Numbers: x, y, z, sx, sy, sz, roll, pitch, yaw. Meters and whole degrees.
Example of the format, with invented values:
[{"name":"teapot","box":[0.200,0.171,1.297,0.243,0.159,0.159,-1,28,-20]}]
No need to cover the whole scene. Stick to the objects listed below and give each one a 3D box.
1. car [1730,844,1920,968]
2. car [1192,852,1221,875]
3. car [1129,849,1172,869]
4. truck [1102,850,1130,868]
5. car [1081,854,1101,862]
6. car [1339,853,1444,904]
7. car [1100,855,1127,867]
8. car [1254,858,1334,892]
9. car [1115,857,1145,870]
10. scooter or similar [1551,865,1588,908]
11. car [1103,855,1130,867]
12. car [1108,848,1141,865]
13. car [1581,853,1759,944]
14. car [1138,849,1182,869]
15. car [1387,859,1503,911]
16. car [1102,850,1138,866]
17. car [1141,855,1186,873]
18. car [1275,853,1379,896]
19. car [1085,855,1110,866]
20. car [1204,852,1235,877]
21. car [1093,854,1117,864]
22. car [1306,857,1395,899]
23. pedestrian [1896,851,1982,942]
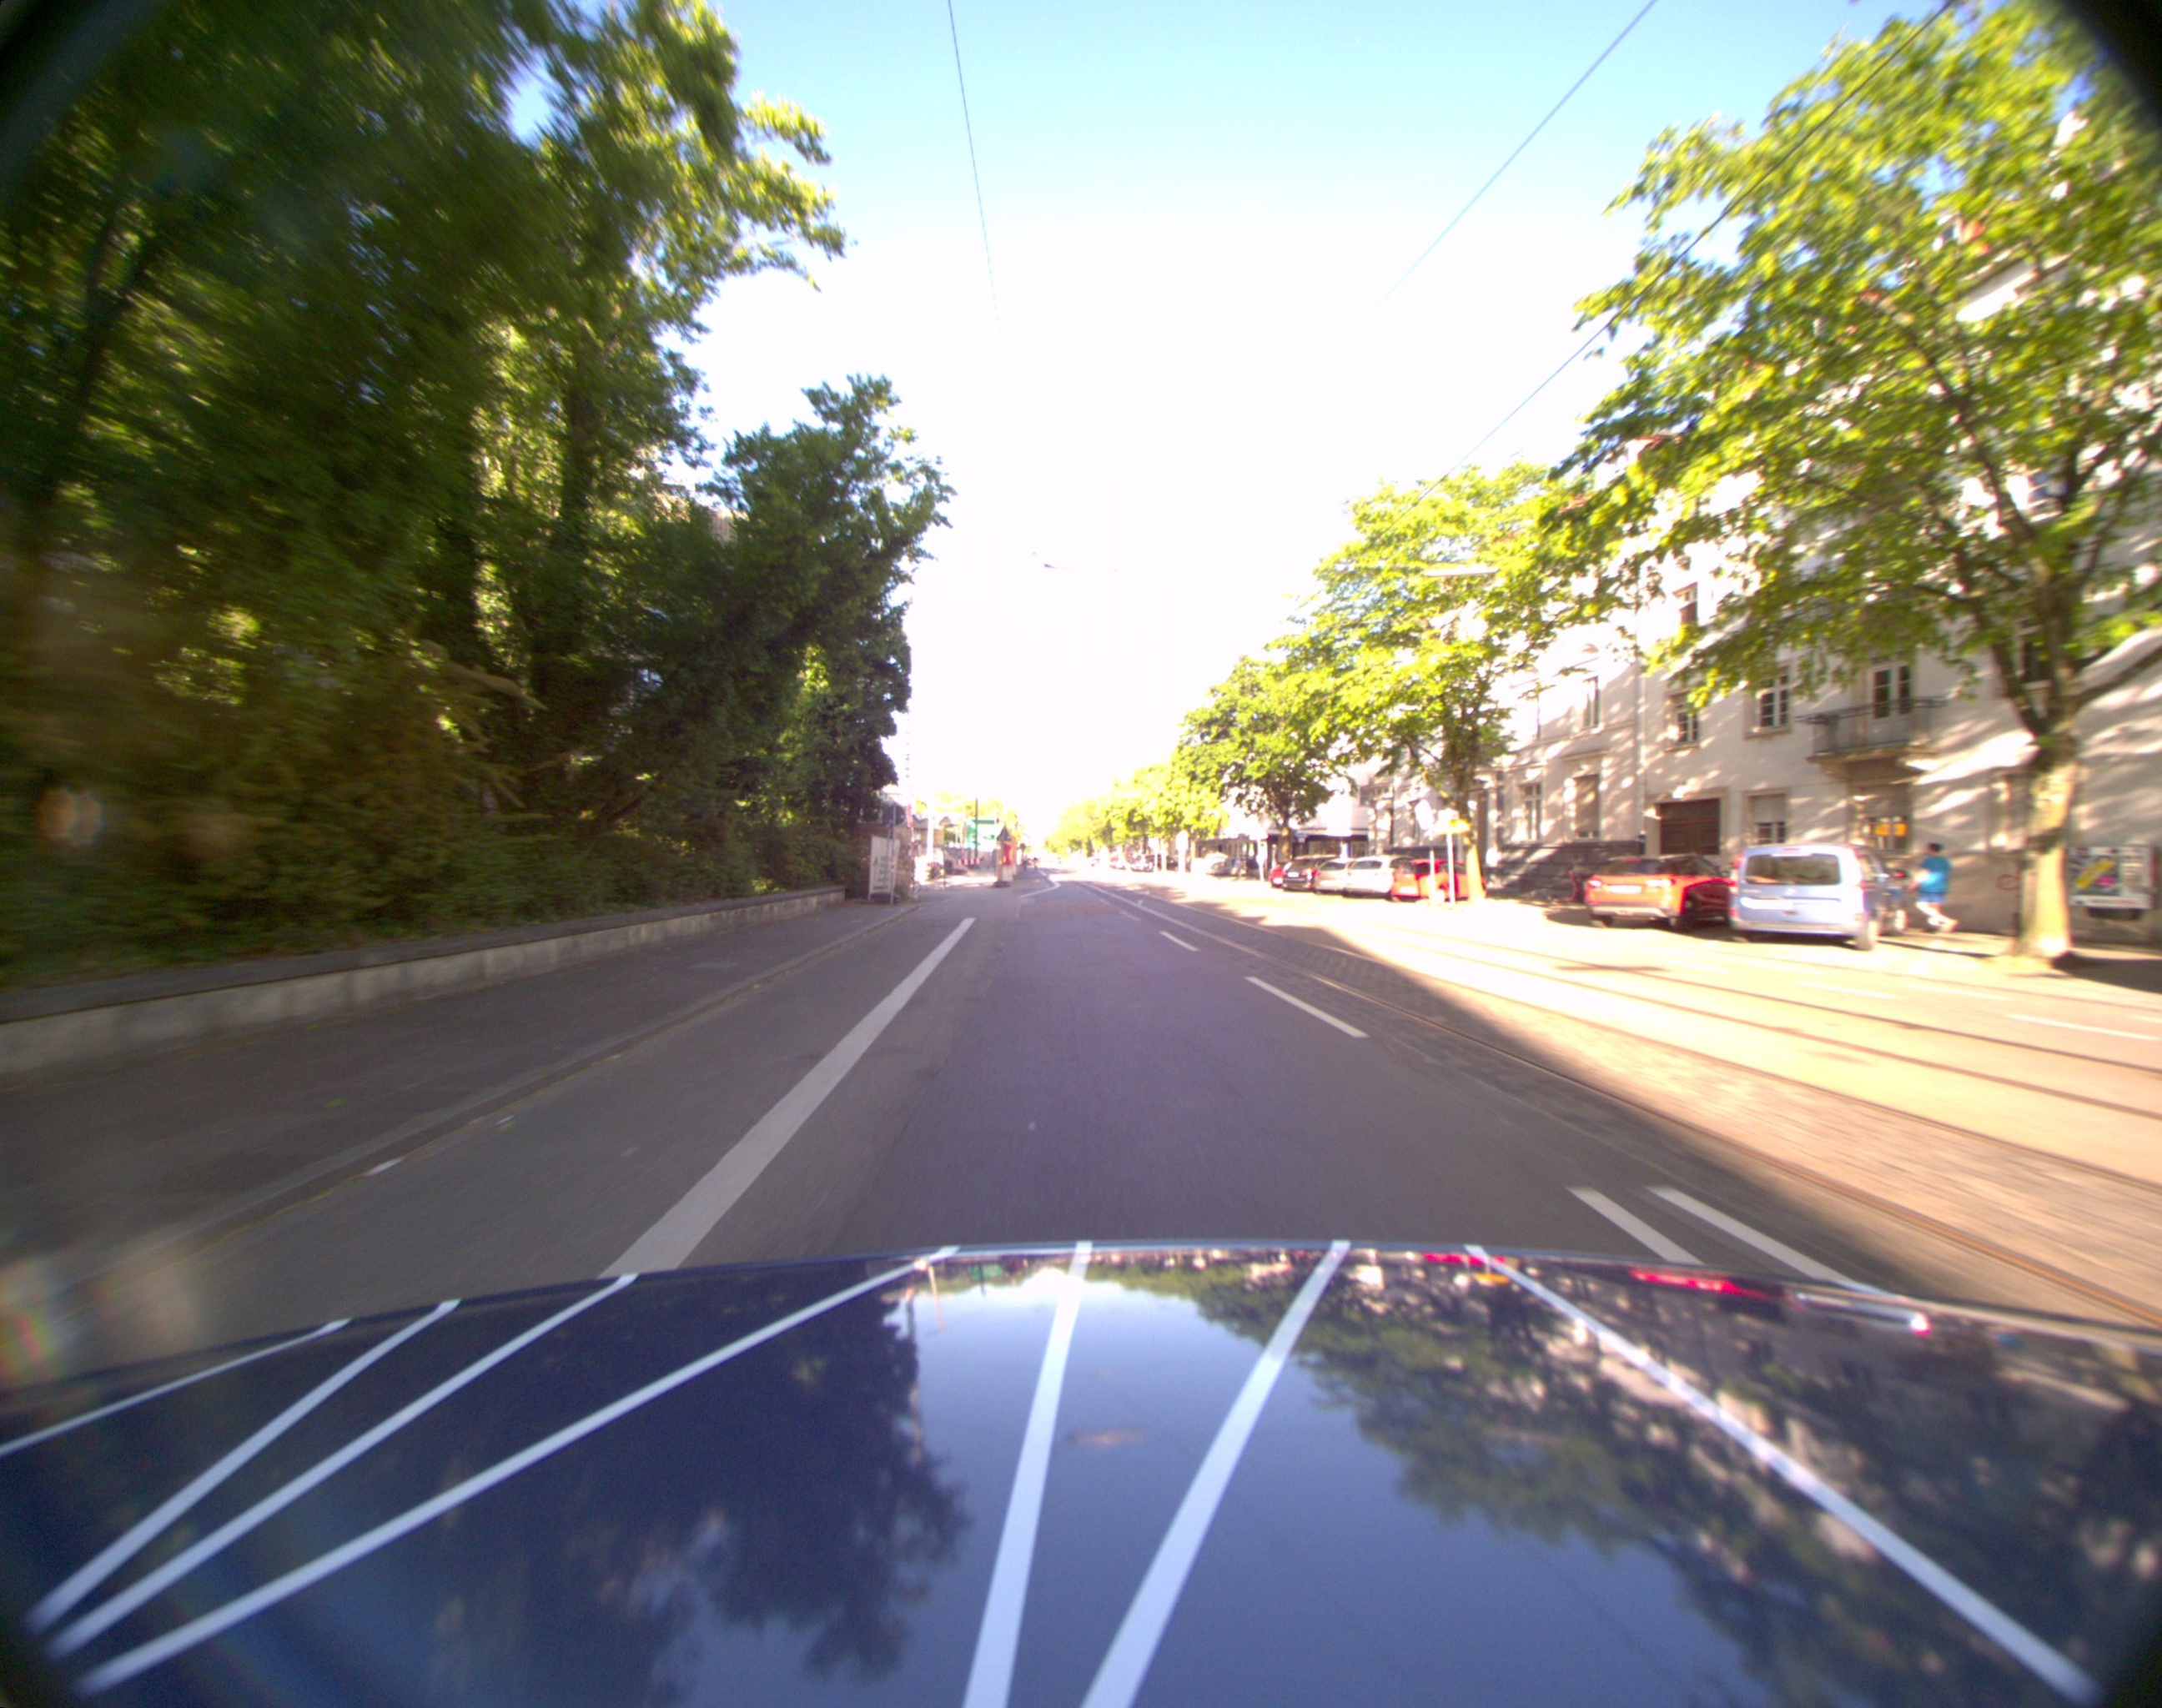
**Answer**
[{"name":"car","box":[13.527,0.789,13.756,4.208,1.788,1.781,-3,2,-36]},{"name":"car","box":[10.558,0.770,64.022,1.672,1.886,3.213,0,0,-4]},{"name":"car","box":[7.628,0.548,83.108,4.309,1.940,1.671,-2,1,-9]},{"name":"truck","box":[5.090,0.718,111.178,3.772,2.409,1.672,-2,1,-4]},{"name":"car","box":[1.901,0.795,149.256,3.622,1.492,1.503,-2,1,-9]},{"name":"car","box":[12.076,0.889,29.441,4.208,1.714,1.780,-3,2,-36]},{"name":"car","box":[5.005,1.073,116.880,3.773,1.584,1.671,-2,1,-9]},{"name":"car","box":[10.832,1.015,38.489,4.007,1.477,1.777,-2,2,-36]},{"name":"car","box":[6.636,1.298,102.719,3.773,1.584,1.671,-2,1,-9]},{"name":"scooter or similar","box":[16.152,1.055,25.134,0.401,1.350,1.286,1,0,1]},{"name":"car","box":[5.331,1.076,113.579,3.773,1.584,1.671,-2,1,-9]},{"name":"car","box":[5.506,0.315,95.483,3.806,1.928,1.671,-2,1,-9]},{"name":"car","box":[13.038,0.900,16.768,4.207,1.627,1.739,-3,0,-32]},{"name":"car","box":[8.320,0.537,80.031,4.309,1.940,1.671,-2,1,-9]},{"name":"car","box":[12.757,1.022,26.559,4.208,1.549,1.636,-2,1,-33]},{"name":"car","box":[4.746,0.498,93.500,4.102,1.767,1.671,-2,1,-9]},{"name":"car","box":[8.342,0.986,76.858,4.102,1.561,1.671,-2,1,-9]},{"name":"car","box":[11.289,0.888,34.835,4.365,1.704,1.944,-3,2,-27]},{"name":"car","box":[2.750,1.122,125.153,3.773,1.584,1.671,-2,1,-9]},{"name":"car","box":[10.895,0.778,60.033,1.672,1.886,3.213,0,0,-4]},{"name":"car","box":[4.222,0.806,133.150,3.773,1.584,1.671,-2,1,-9]},{"name":"car","box":[11.520,0.975,32.378,3.772,1.511,1.744,-3,2,-37]},{"name":"pedestrian","box":[16.438,0.788,14.573,0.643,1.686,0.870,0,1,1]}]
